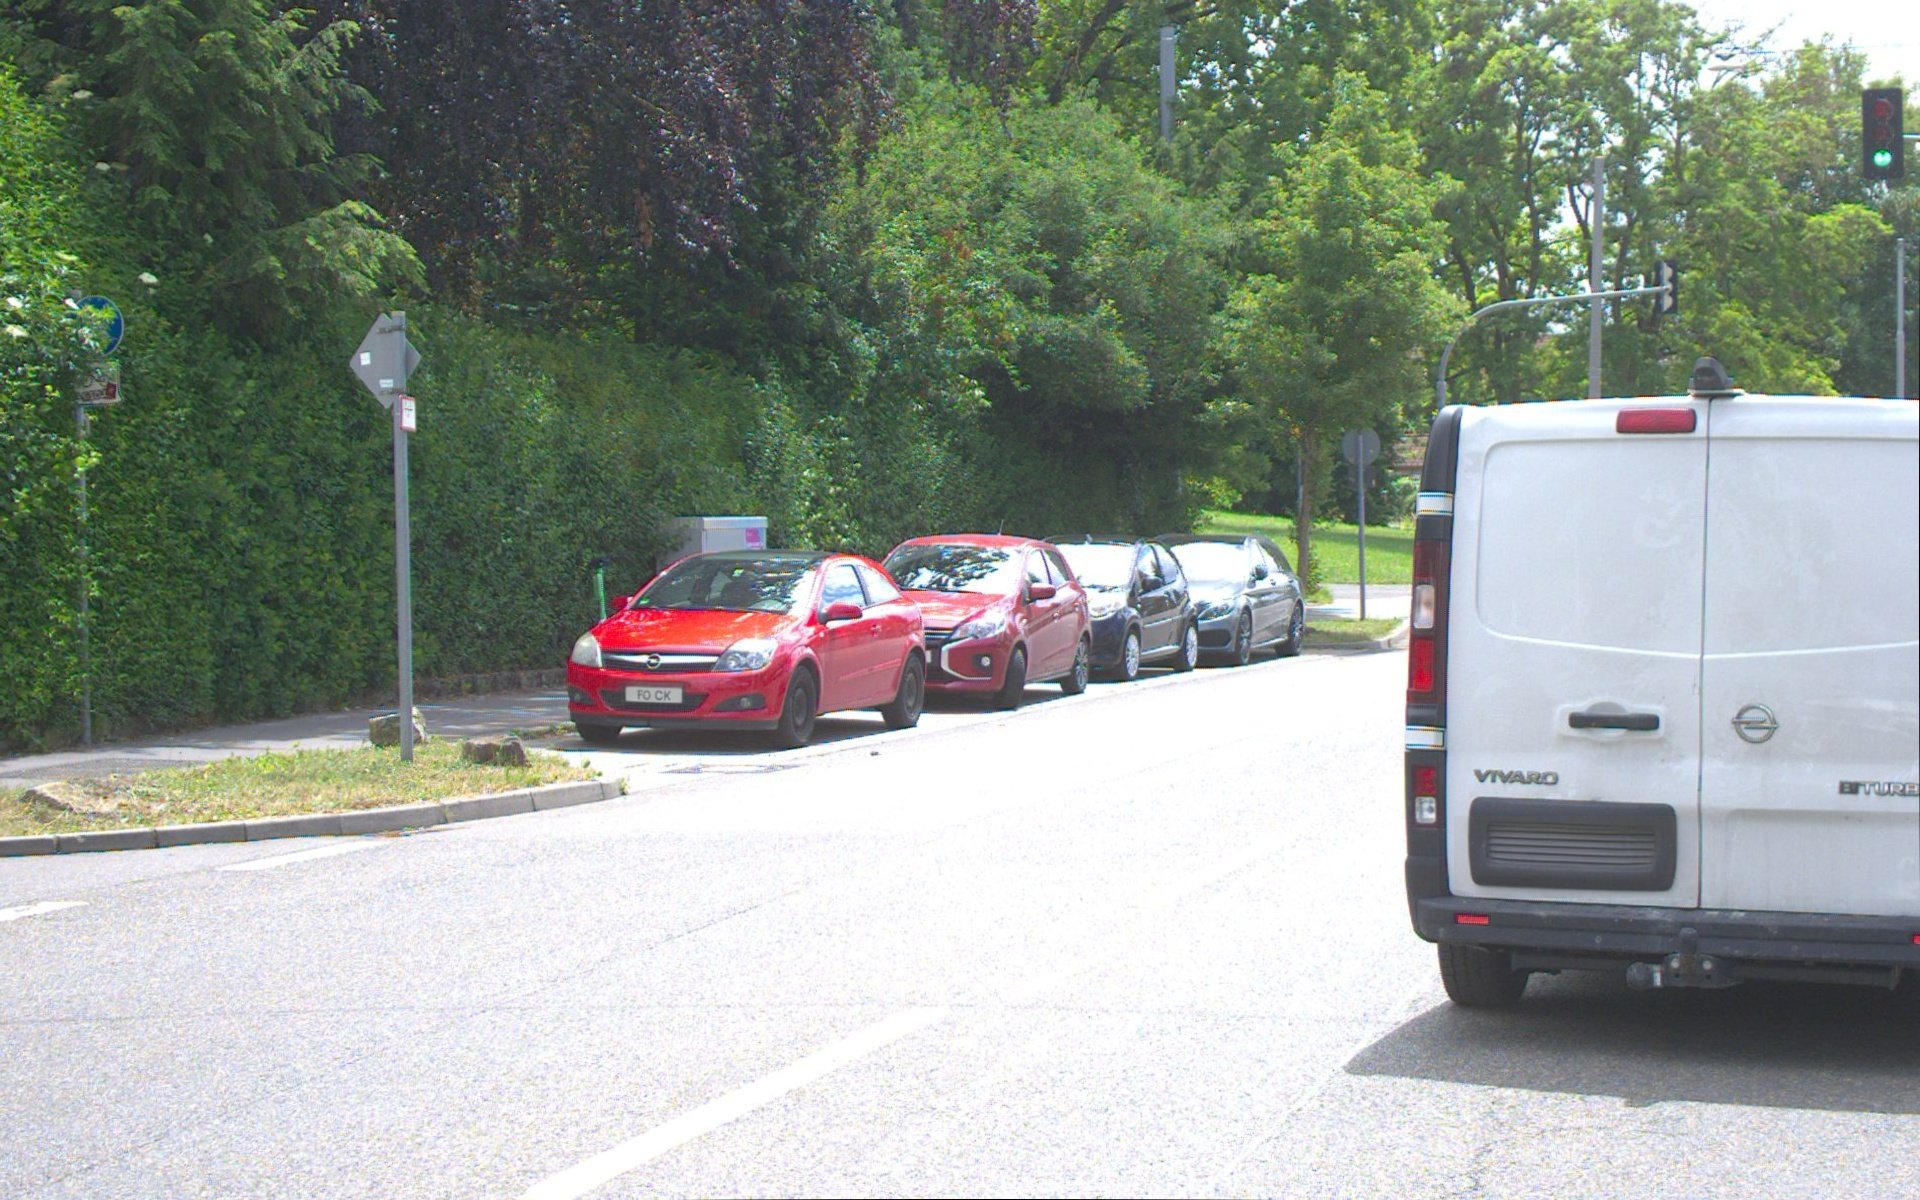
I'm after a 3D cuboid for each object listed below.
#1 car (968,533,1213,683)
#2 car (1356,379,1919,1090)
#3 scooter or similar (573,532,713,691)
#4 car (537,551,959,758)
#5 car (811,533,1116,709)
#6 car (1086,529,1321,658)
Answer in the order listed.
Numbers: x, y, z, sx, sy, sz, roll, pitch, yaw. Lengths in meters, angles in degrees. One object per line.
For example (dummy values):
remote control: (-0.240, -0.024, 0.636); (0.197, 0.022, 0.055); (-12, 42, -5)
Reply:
car: (1.417, 0.041, 35.917); (1.597, 1.445, 3.593); (1, 2, 18)
car: (3.011, 0.312, 12.004); (1.941, 1.954, 4.828); (2, 2, 22)
scooter or similar: (-2.920, 0.084, 31.801); (0.671, 1.407, 1.647); (1, 2, 19)
car: (-1.496, 0.342, 26.177); (1.662, 1.373, 4.562); (1, 2, 17)
car: (0.106, 0.135, 31.228); (1.651, 1.445, 4.102); (1, 2, 17)
car: (2.898, -0.126, 39.958); (1.696, 1.361, 4.683); (2, 2, 17)
